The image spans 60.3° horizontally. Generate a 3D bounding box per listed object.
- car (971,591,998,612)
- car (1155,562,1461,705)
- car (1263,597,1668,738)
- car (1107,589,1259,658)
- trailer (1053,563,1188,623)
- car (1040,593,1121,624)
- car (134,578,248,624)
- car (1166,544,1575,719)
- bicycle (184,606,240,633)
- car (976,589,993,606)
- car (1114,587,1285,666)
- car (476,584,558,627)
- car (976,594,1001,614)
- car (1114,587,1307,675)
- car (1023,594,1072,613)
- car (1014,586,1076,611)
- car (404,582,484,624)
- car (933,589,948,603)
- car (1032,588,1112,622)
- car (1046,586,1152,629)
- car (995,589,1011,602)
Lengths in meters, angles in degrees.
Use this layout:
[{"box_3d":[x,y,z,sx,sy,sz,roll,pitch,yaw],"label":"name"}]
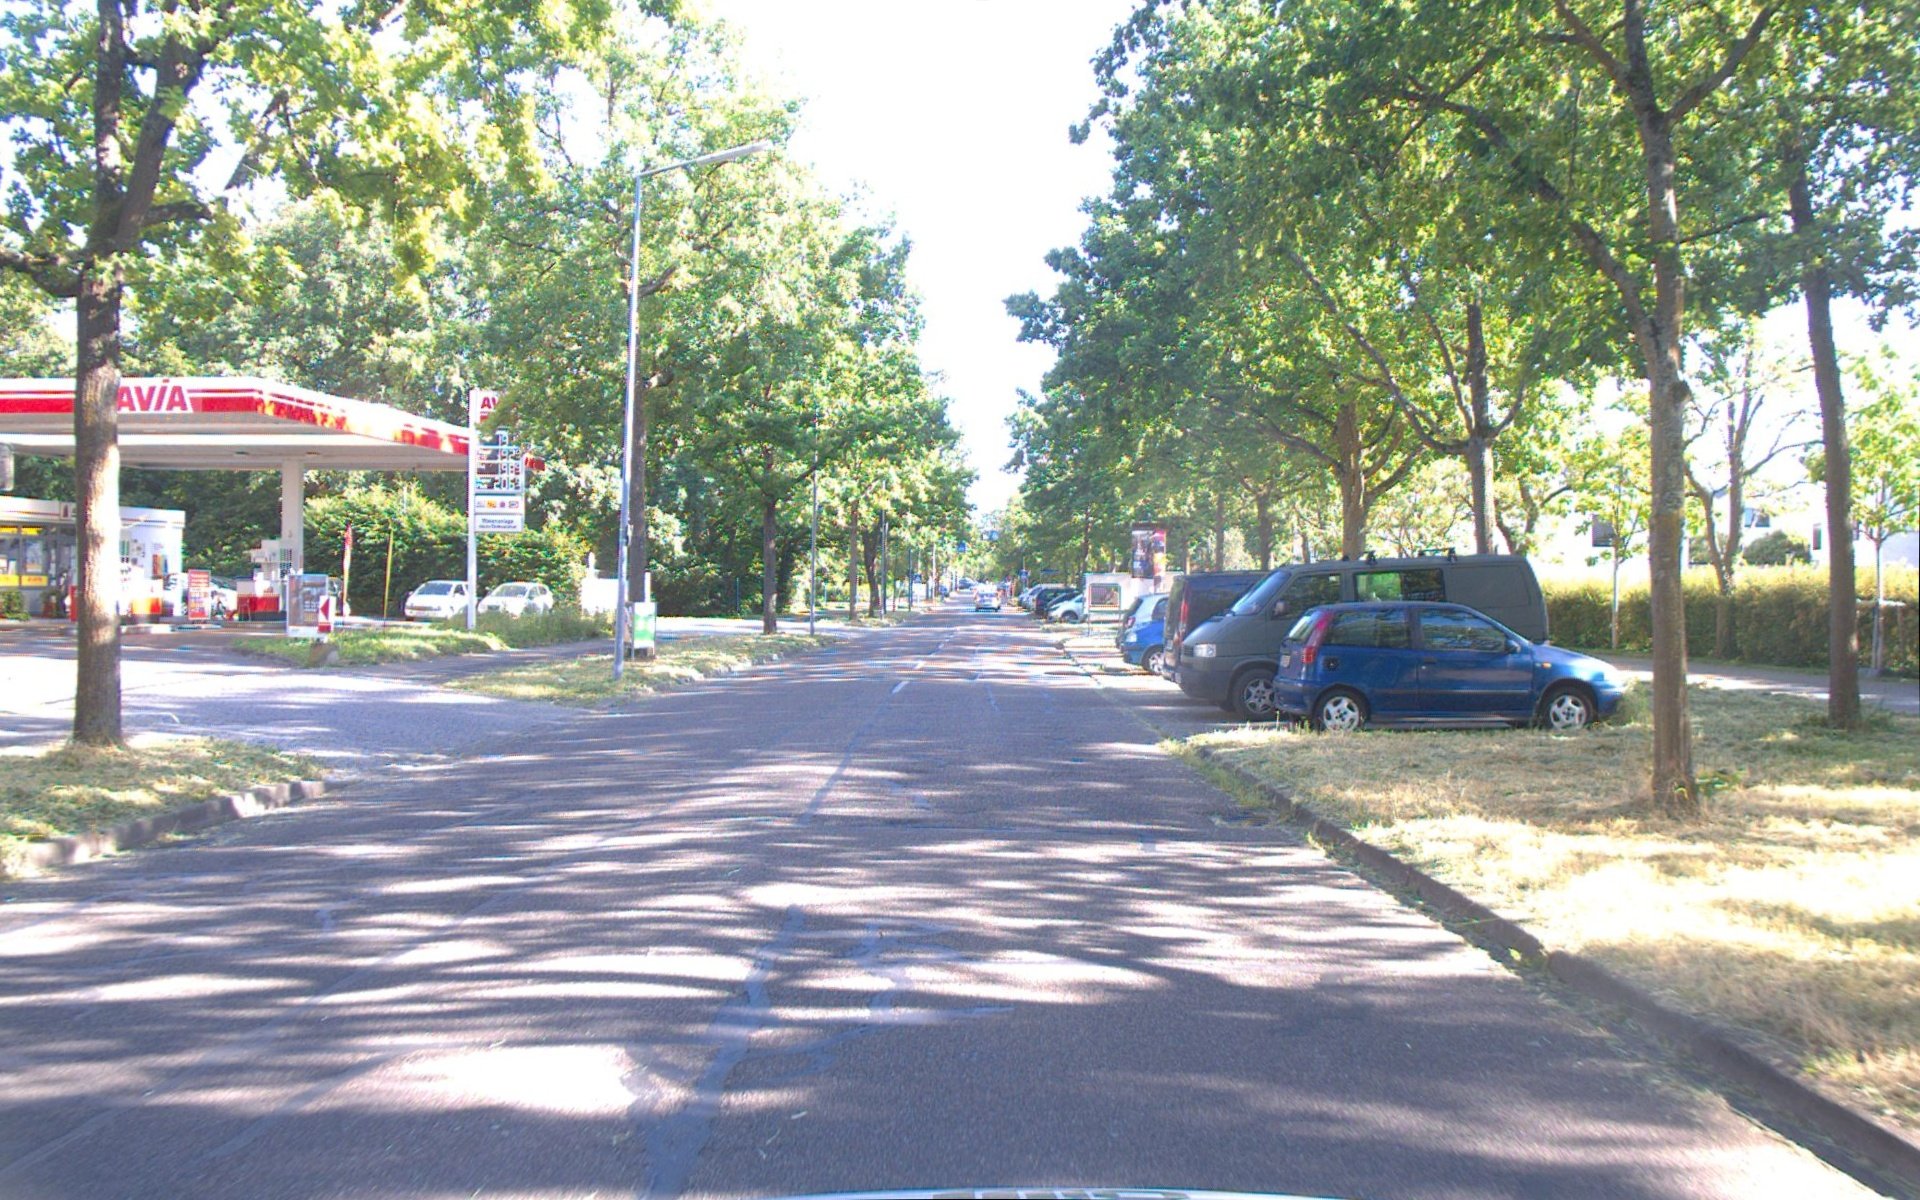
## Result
[{"box_3d":[1.857,0.116,124.756,1.953,1.510,3.999,0,0,-1],"label":"car"},{"box_3d":[4.876,0.453,23.545,3.928,1.869,1.799,-1,0,-2],"label":"car"},{"box_3d":[5.435,0.705,18.137,3.906,1.428,1.739,-1,0,0],"label":"car"},{"box_3d":[5.488,0.578,41.087,3.510,1.604,1.857,-1,0,0],"label":"car"},{"box_3d":[6.819,-0.296,70.661,5.654,2.358,1.687,-2,0,3],"label":"trailer"},{"box_3d":[6.258,0.444,86.313,4.157,1.545,2.078,-1,0,2],"label":"car"},{"box_3d":[-26.211,0.024,56.439,3.126,1.425,1.586,2,0,9],"label":"car"},{"box_3d":[5.092,0.384,20.990,4.704,2.067,1.944,-1,0,0],"label":"car"},{"box_3d":[-23.392,0.612,51.737,0.604,0.821,1.781,1,0,16],"label":"bicycle"},{"box_3d":[2.889,-0.338,196.468,1.952,1.966,4.000,1,0,0],"label":"car"},{"box_3d":[5.173,0.569,36.093,3.509,1.604,1.787,-1,0,2],"label":"car"},{"box_3d":[-15.777,0.181,59.033,1.513,1.447,3.490,2,0,9],"label":"car"},{"box_3d":[2.371,0.345,138.654,1.953,1.684,3.998,0,0,-2],"label":"car"},{"box_3d":[4.715,0.582,31.488,3.447,1.559,1.665,-1,0,2],"label":"car"},{"box_3d":[7.035,0.298,132.711,3.904,1.458,1.901,0,0,2],"label":"car"},{"box_3d":[7.203,-0.136,140.487,5.081,2.142,2.082,0,0,-1],"label":"car"},{"box_3d":[-18.356,0.111,58.969,1.392,1.391,3.208,2,0,9],"label":"car"},{"box_3d":[-2.624,-0.560,223.531,1.952,1.746,4.000,1,0,0],"label":"car"},{"box_3d":[6.277,0.262,93.086,4.436,1.832,1.936,-1,0,1],"label":"car"},{"box_3d":[6.147,0.324,73.455,4.546,1.752,1.988,-1,0,2],"label":"car"},{"box_3d":[5.631,-0.586,217.303,1.952,1.746,4.000,1,0,0],"label":"car"}]
